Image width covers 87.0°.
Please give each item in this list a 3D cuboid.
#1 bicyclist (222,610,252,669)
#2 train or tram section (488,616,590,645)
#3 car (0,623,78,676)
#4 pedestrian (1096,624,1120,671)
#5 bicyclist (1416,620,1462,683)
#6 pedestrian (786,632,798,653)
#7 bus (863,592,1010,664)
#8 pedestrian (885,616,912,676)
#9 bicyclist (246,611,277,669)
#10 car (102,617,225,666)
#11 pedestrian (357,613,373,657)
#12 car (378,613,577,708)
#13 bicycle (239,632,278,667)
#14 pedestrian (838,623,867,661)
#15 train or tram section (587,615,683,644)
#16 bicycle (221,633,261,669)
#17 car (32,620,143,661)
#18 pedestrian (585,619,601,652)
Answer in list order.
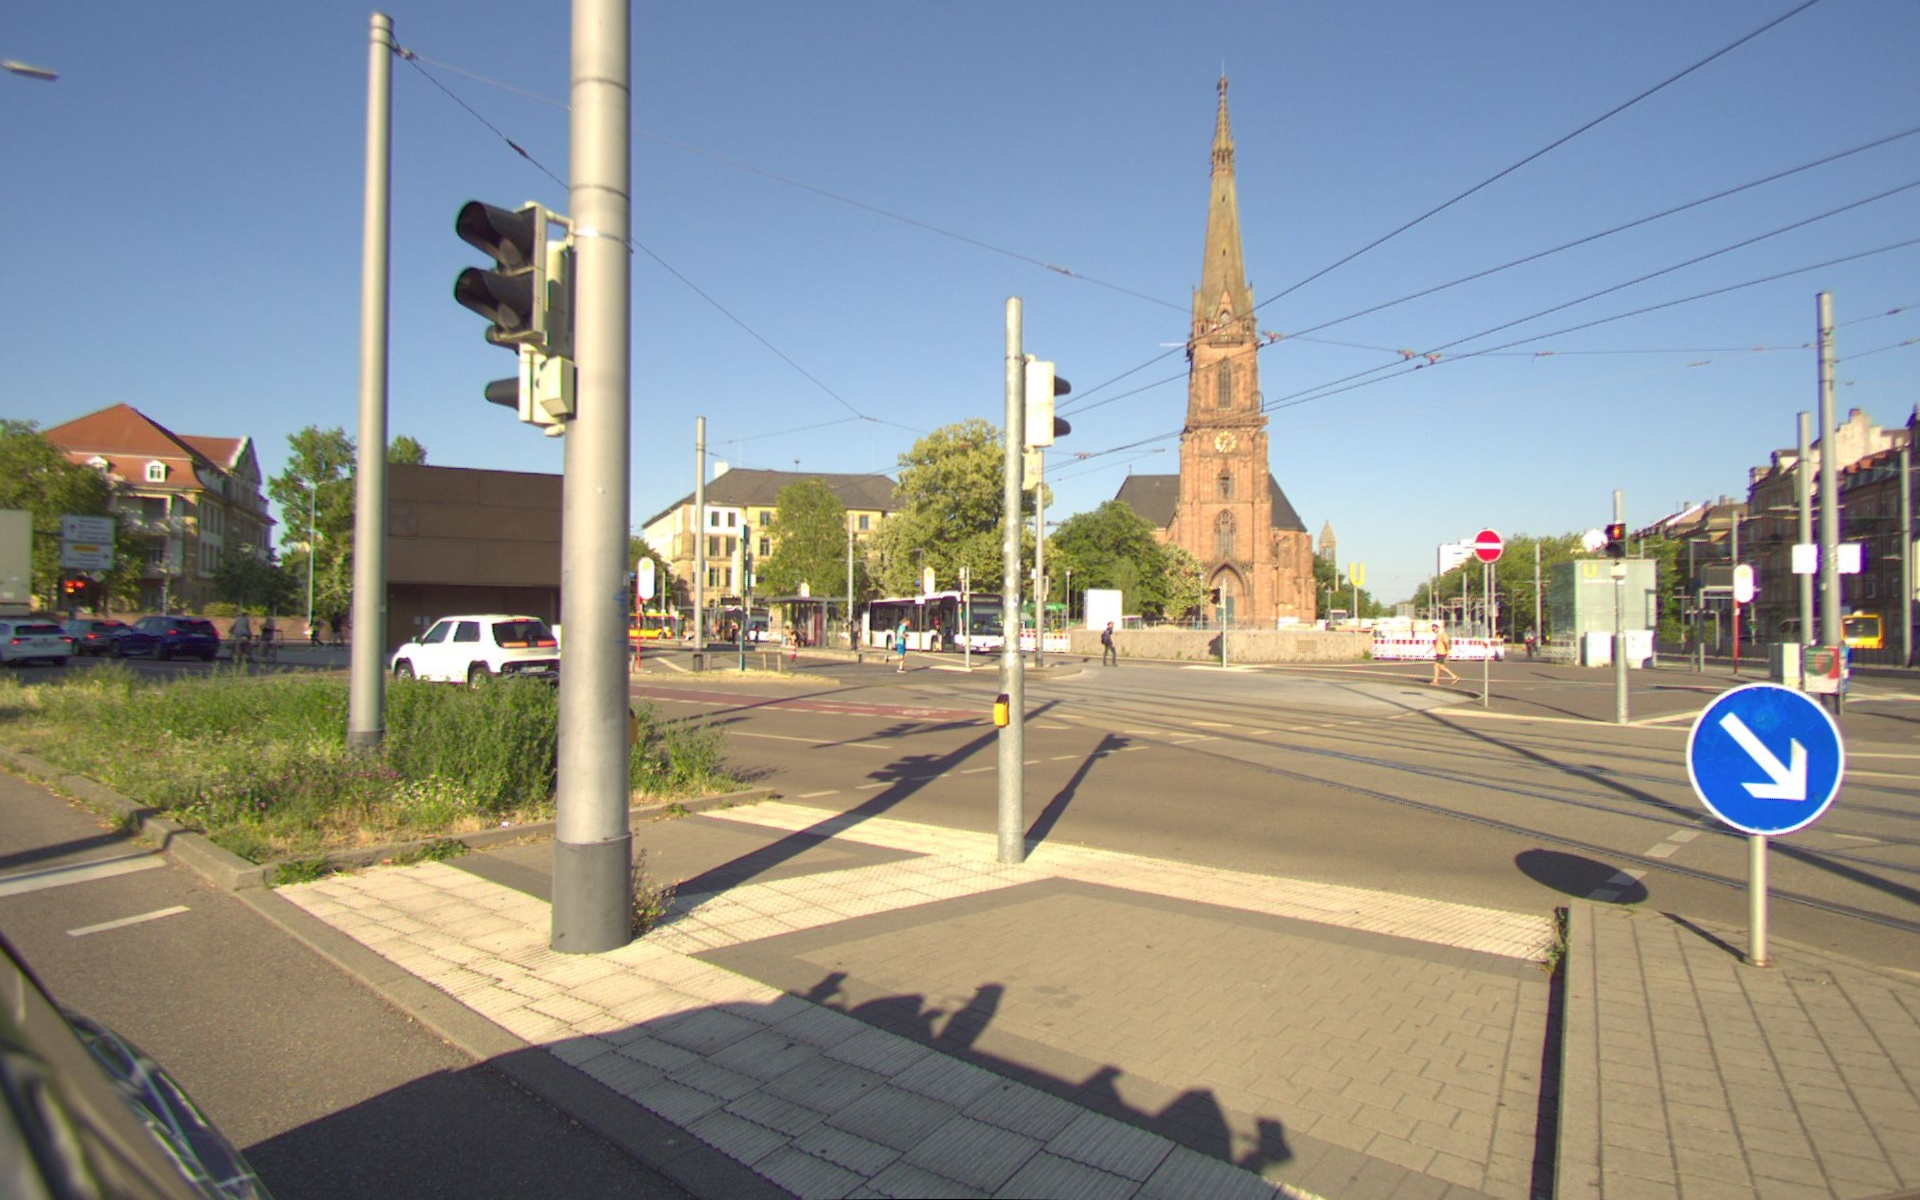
[{"bbox_3d":[-25.191,1.378,35.264,0.562,2.029,0.606,-1,-2,24],"label":"bicyclist"},{"bbox_3d":[-45.028,3.215,108.299,9.940,2.946,2.006,0,0,-27],"label":"train or tram section"},{"bbox_3d":[-30.174,1.520,32.174,4.373,1.503,1.832,0,0,29],"label":"car"},{"bbox_3d":[5.709,1.840,39.073,0.702,1.771,0.584,0,0,-32],"label":"pedestrian"},{"bbox_3d":[13.391,1.425,28.277,0.963,1.696,0.669,0,0,-19],"label":"bicyclist"},{"bbox_3d":[-9.520,2.398,57.174,0.531,1.196,0.660,0,0,-23],"label":"pedestrian"},{"bbox_3d":[-1.540,1.241,50.671,2.655,3.174,12.216,0,0,-25],"label":"bus"},{"bbox_3d":[-2.011,1.491,32.991,0.786,1.911,0.612,1,-2,-11],"label":"pedestrian"},{"bbox_3d":[-24.788,1.402,35.923,0.705,2.029,0.606,-1,-2,24],"label":"bicyclist"},{"bbox_3d":[-28.897,1.473,36.715,4.163,1.703,1.742,0,-2,24],"label":"car"},{"bbox_3d":[-27.224,1.593,46.297,0.645,2.029,0.470,0,0,-31],"label":"pedestrian"},{"bbox_3d":[-9.589,1.102,20.033,3.988,1.674,1.766,0,0,33],"label":"car"},{"bbox_3d":[-24.909,1.760,35.915,1.388,1.201,0.461,0,0,22],"label":"bicycle"},{"bbox_3d":[-5.021,1.956,47.298,1.025,1.696,1.007,0,0,-27],"label":"pedestrian"},{"bbox_3d":[-36.007,3.231,112.455,9.941,2.946,2.006,0,0,-27],"label":"train or tram section"},{"bbox_3d":[-25.089,1.760,35.299,1.388,1.201,0.461,0,0,22],"label":"bicycle"},{"bbox_3d":[-34.109,1.585,39.553,4.373,1.503,1.832,0,-4,29],"label":"car"},{"bbox_3d":[-23.378,2.259,64.459,0.761,2.029,0.779,0,0,-3],"label":"pedestrian"}]
